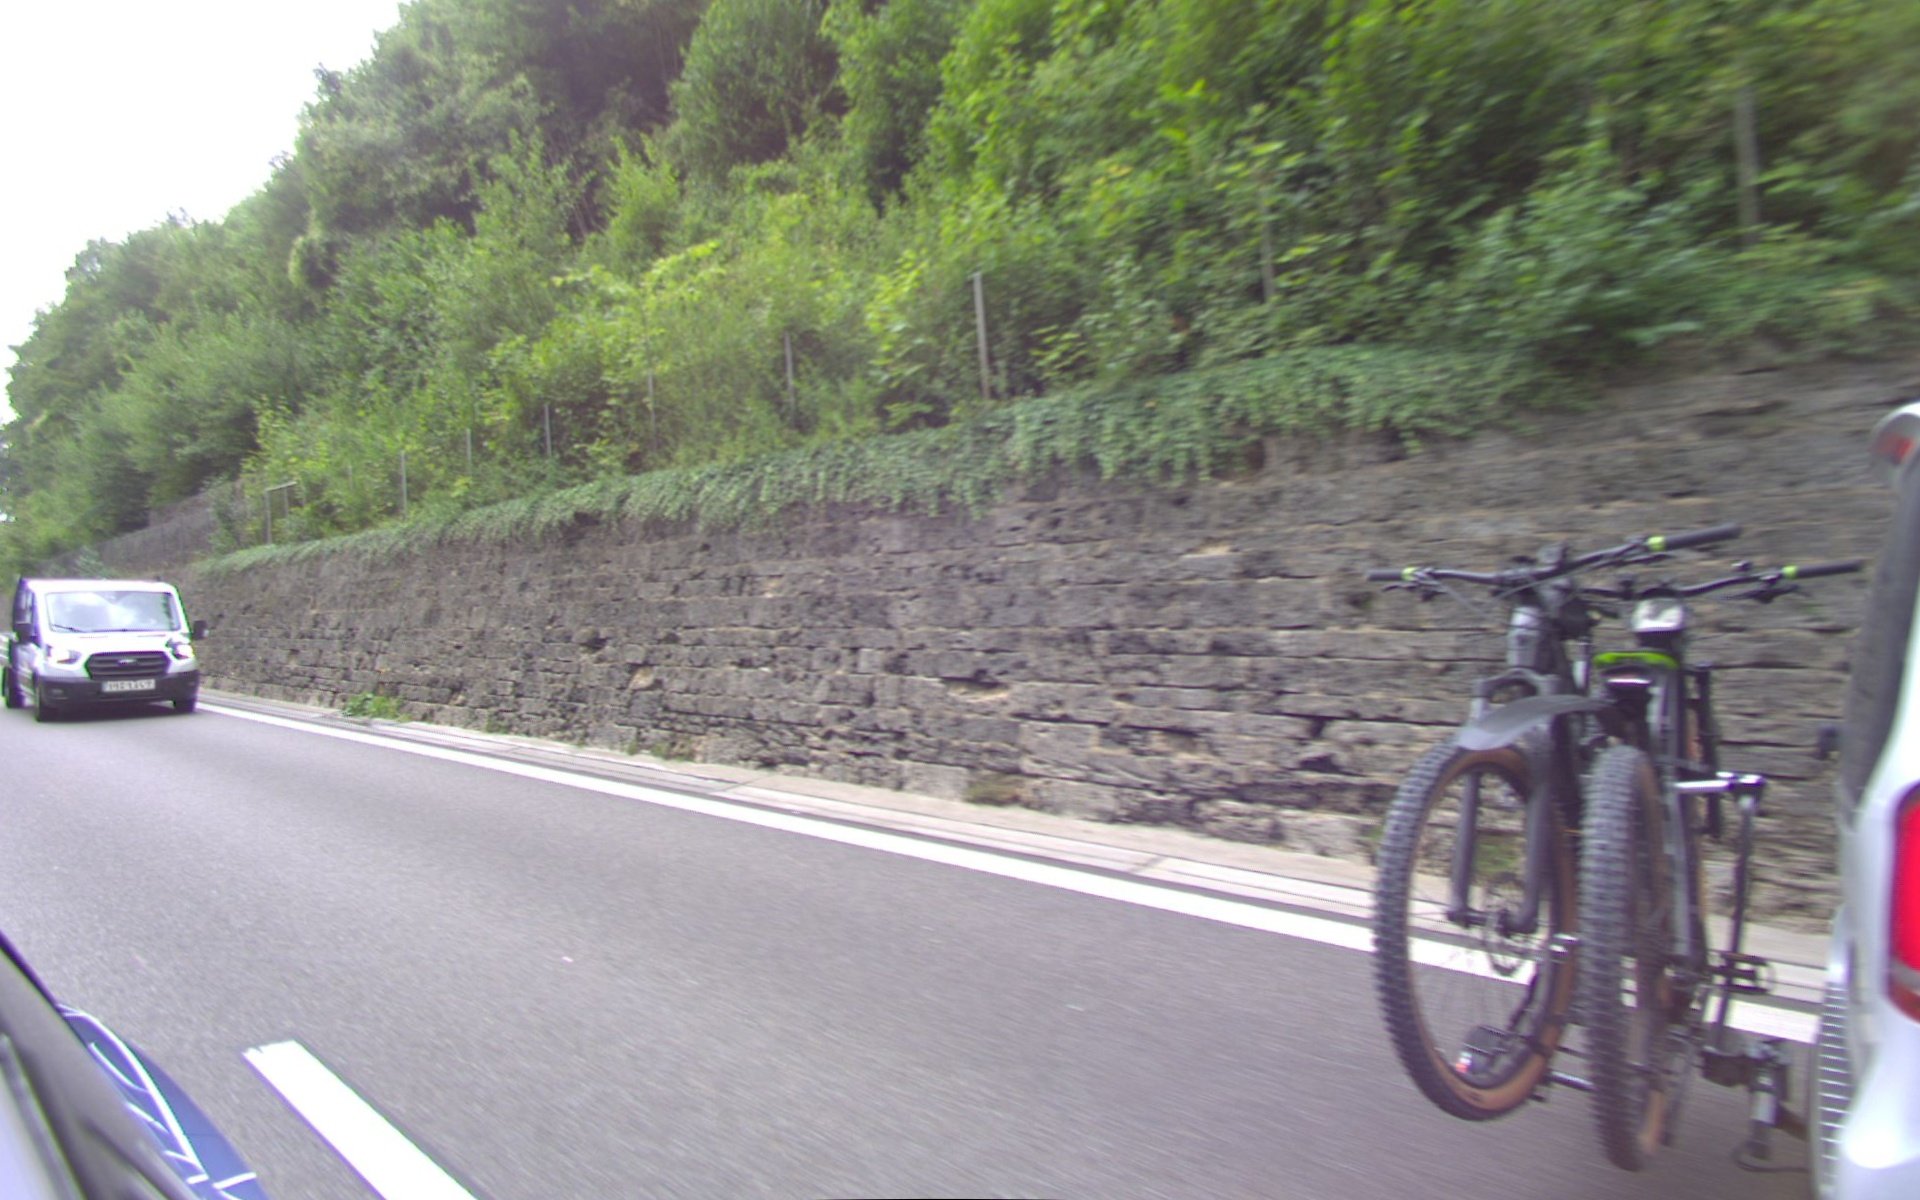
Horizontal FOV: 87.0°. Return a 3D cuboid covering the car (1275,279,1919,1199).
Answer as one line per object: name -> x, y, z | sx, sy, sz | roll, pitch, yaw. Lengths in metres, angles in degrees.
car -> 3.568, 0.494, 0.637 | 6.144, 1.967, 1.973 | -2, -1, 41

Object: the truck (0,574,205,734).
truck -> -15.072, 0.835, 17.407 | 6.582, 2.297, 1.973 | -2, -1, 41
